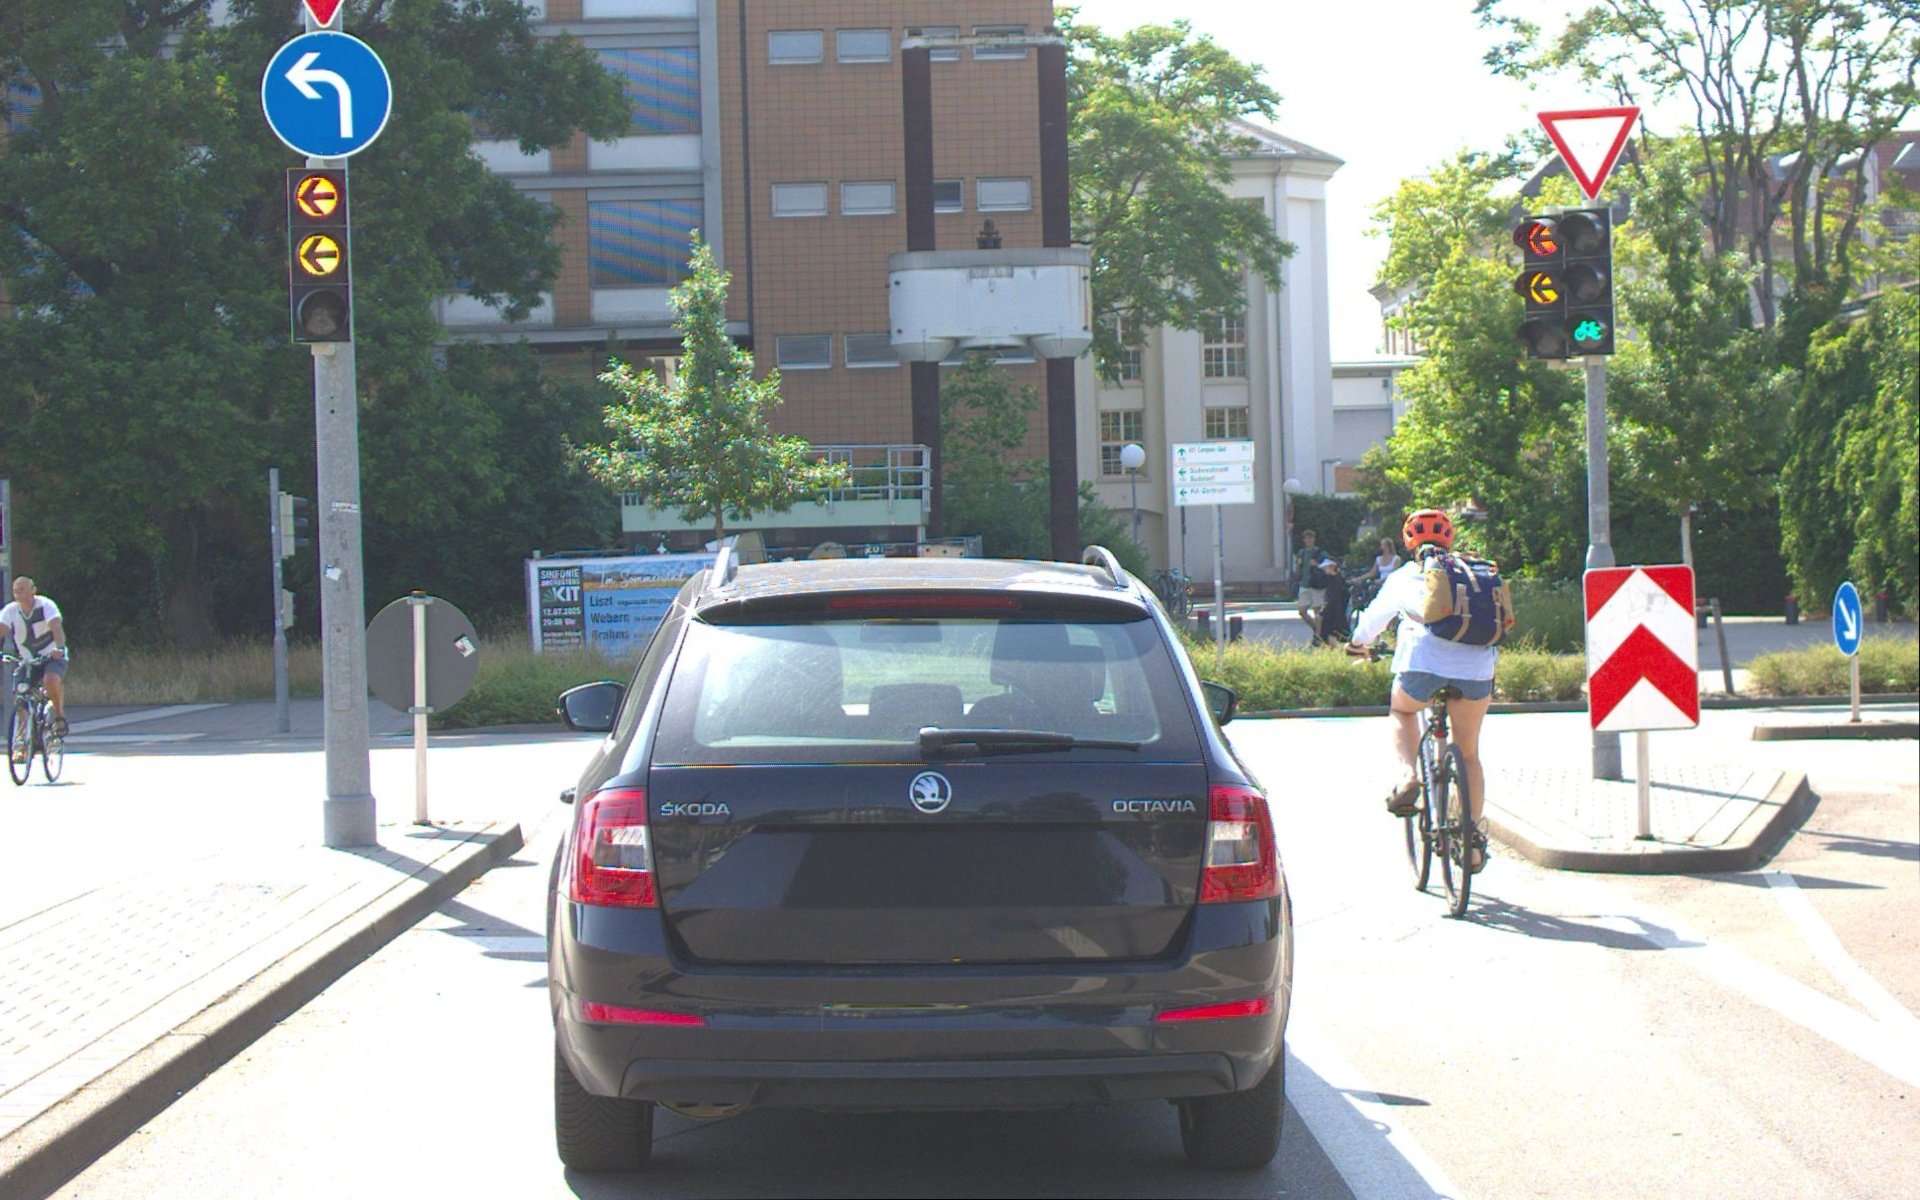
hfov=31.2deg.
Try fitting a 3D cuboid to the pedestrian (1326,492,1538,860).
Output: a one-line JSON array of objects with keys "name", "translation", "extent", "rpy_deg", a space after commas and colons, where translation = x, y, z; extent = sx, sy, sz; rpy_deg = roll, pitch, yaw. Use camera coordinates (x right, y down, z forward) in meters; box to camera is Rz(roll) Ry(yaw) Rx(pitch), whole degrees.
[{"name": "pedestrian", "translation": [1.937, 0.296, 14.208], "extent": [0.583, 1.461, 1.014], "rpy_deg": [0, 0, -9]}]

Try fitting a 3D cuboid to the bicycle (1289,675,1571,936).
[{"name": "bicycle", "translation": [1.923, 0.818, 14.362], "extent": [0.596, 0.928, 2.029], "rpy_deg": [0, 1, -9]}]

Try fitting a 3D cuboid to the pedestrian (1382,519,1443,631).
[{"name": "pedestrian", "translation": [7.756, -0.436, 58.928], "extent": [0.795, 1.868, 0.638], "rpy_deg": [-3, 1, 25]}]

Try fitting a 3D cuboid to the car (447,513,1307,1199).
[{"name": "car", "translation": [-0.177, 0.516, 9.042], "extent": [1.780, 1.438, 3.818], "rpy_deg": [0, 1, 0]}]

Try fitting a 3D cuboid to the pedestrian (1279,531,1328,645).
[{"name": "pedestrian", "translation": [5.722, -0.197, 57.274], "extent": [0.597, 1.868, 0.638], "rpy_deg": [-2, 1, 23]}]

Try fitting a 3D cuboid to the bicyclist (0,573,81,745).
[{"name": "bicyclist", "translation": [-7.844, 0.494, 29.051], "extent": [0.539, 1.412, 1.030], "rpy_deg": [-3, 0, -2]}]

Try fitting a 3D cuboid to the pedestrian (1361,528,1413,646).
[{"name": "pedestrian", "translation": [6.947, -0.213, 55.911], "extent": [0.637, 1.868, 0.796], "rpy_deg": [-3, 1, -1]}]

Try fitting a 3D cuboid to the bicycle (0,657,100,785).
[{"name": "bicycle", "translation": [-7.850, 1.011, 29.042], "extent": [0.704, 0.974, 2.031], "rpy_deg": [-2, 1, -2]}]
